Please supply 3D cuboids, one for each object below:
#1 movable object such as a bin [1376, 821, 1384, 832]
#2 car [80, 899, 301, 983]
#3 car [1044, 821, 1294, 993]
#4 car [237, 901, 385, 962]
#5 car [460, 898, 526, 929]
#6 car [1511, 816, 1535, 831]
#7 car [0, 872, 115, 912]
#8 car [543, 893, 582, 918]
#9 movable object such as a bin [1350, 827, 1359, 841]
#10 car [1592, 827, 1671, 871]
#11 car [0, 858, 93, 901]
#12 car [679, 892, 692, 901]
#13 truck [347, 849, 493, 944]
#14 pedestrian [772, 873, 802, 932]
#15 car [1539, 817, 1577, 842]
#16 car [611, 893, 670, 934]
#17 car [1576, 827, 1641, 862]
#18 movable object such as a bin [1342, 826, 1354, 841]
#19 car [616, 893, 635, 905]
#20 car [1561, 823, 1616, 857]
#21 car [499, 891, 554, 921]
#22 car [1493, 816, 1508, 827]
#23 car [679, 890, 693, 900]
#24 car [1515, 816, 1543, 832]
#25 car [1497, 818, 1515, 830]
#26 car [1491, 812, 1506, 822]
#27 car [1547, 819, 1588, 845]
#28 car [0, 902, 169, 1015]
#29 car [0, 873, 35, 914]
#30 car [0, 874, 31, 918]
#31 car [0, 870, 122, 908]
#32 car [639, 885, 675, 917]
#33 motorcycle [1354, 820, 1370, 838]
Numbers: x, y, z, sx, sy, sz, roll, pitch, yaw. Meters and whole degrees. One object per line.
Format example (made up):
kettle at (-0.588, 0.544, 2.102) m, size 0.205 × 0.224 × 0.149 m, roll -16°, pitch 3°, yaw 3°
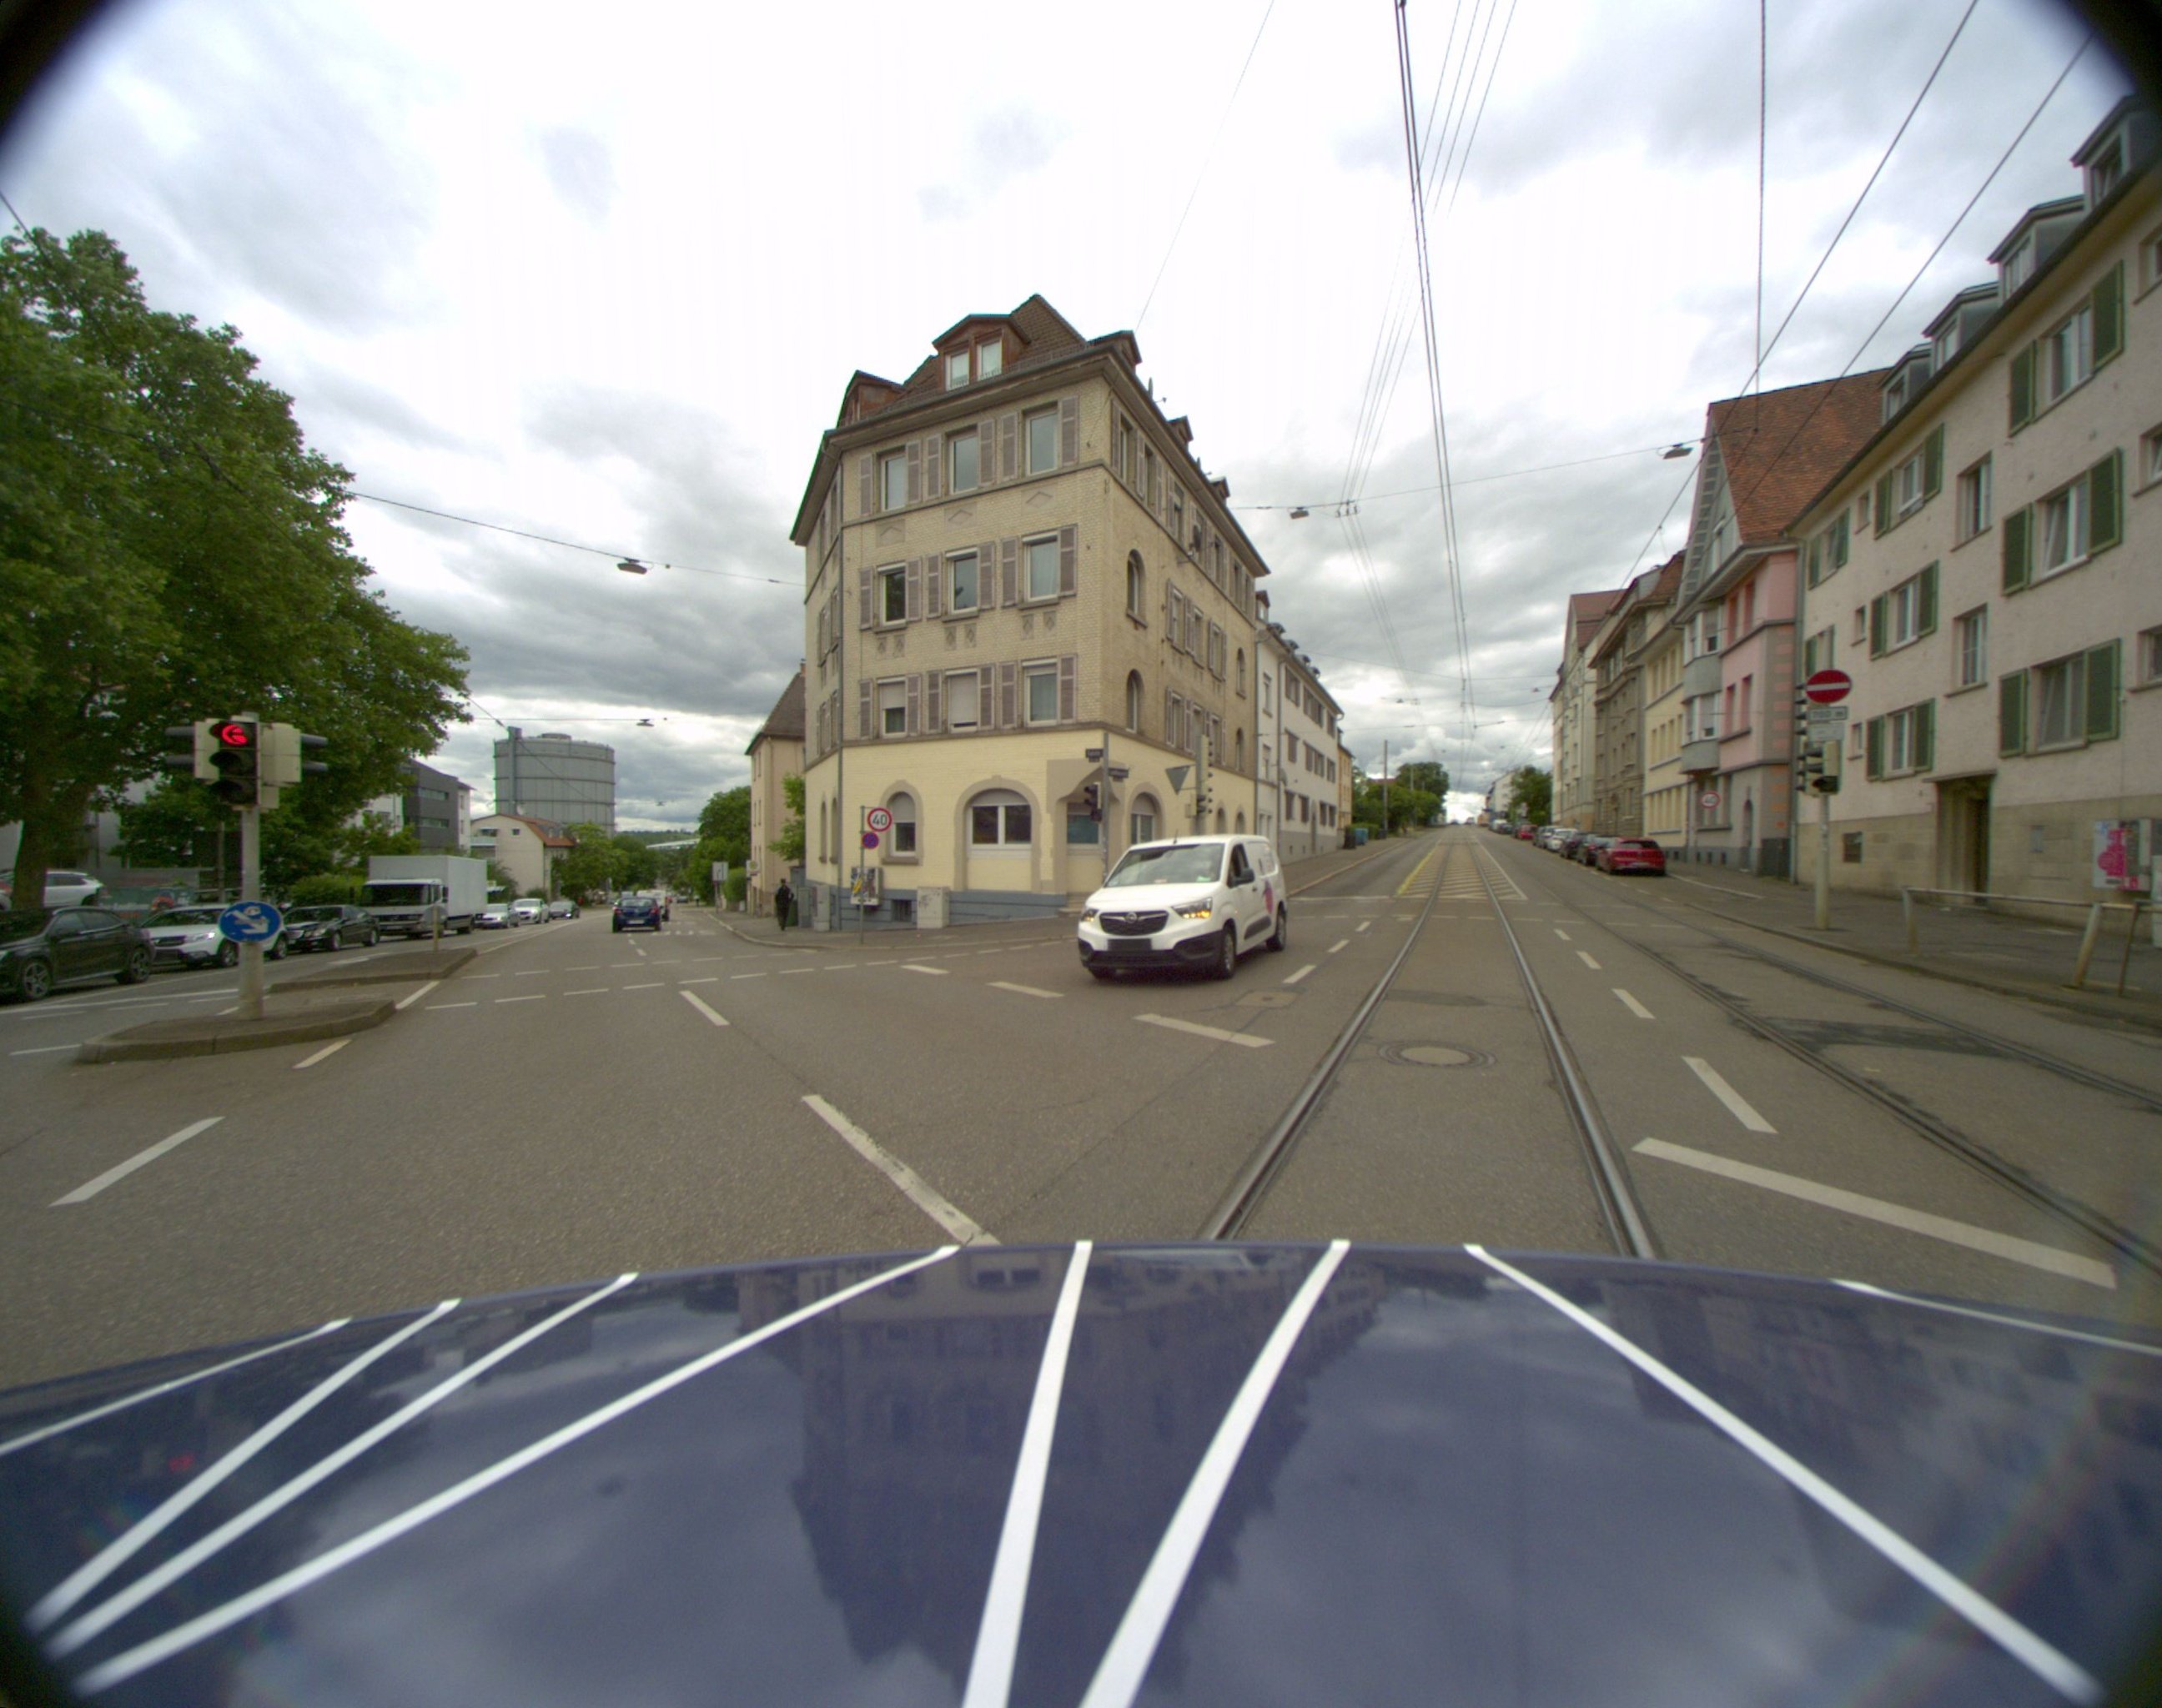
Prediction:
movable object such as a bin at (29.803, -2.757, 75.771) m, size 0.668 × 1.053 × 0.540 m, roll -1°, pitch 2°, yaw 27°
car at (-21.027, 1.956, 18.234) m, size 2.003 × 1.517 × 4.248 m, roll -2°, pitch 0°, yaw -29°
car at (1.503, 0.584, 10.576) m, size 1.885 × 1.827 × 4.685 m, roll -2°, pitch -1°, yaw 27°
car at (-23.738, 2.316, 23.647) m, size 2.003 × 1.457 × 4.399 m, roll -2°, pitch 0°, yaw -29°
car at (-31.718, 3.180, 41.094) m, size 1.922 × 1.291 × 4.400 m, roll -2°, pitch 0°, yaw -26°
car at (45.552, -3.181, 78.408) m, size 1.739 × 1.518 × 3.957 m, roll 2°, pitch 4°, yaw 25°
car at (-41.695, 1.478, 30.204) m, size 1.789 × 1.496 × 3.621 m, roll -1°, pitch -1°, yaw 10°
car at (-40.565, 3.997, 59.510) m, size 2.003 × 1.620 × 4.399 m, roll -2°, pitch 0°, yaw -29°
movable object such as a bin at (19.489, -1.432, 54.132) m, size 0.564 × 1.004 × 0.499 m, roll 3°, pitch 4°, yaw 18°
car at (21.354, -0.254, 29.642) m, size 1.786 × 1.431 × 4.267 m, roll 2°, pitch 4°, yaw 27°
car at (-46.541, 1.106, 33.076) m, size 1.858 × 1.812 × 4.008 m, roll -1°, pitch -1°, yaw 27°
car at (-76.414, 8.221, 146.734) m, size 2.002 × 1.590 × 3.992 m, roll -3°, pitch 0°, yaw -26°
truck at (-28.236, 1.697, 32.920) m, size 2.777 × 3.481 × 8.154 m, roll -3°, pitch 0°, yaw -27°
pedestrian at (-10.118, 1.657, 26.141) m, size 0.748 × 1.925 × 0.901 m, roll -4°, pitch 1°, yaw -28°
car at (32.735, -1.702, 52.269) m, size 1.740 × 1.559 × 4.148 m, roll 0°, pitch 3°, yaw 25°
car at (-18.311, 2.423, 31.690) m, size 1.762 × 1.438 × 3.744 m, roll -2°, pitch 0°, yaw -25°
car at (23.898, -0.485, 34.569) m, size 1.786 × 1.403 × 4.247 m, roll 2°, pitch 4°, yaw 27°
movable object such as a bin at (18.733, -1.425, 53.255) m, size 0.636 × 1.004 × 0.603 m, roll 4°, pitch 4°, yaw 27°
car at (-67.345, 6.675, 112.471) m, size 2.002 × 1.590 × 3.992 m, roll -3°, pitch 0°, yaw -26°
car at (26.156, -0.770, 39.299) m, size 1.786 × 1.503 × 4.532 m, roll 2°, pitch 4°, yaw 27°
car at (-35.200, 3.248, 48.372) m, size 2.002 × 1.620 × 4.400 m, roll -2°, pitch 0°, yaw -26°
car at (62.226, -4.776, 112.760) m, size 1.739 × 1.518 × 3.957 m, roll 2°, pitch 4°, yaw 25°
car at (-71.182, 7.458, 136.953) m, size 2.002 × 1.590 × 3.992 m, roll -3°, pitch 0°, yaw -26°
car at (43.516, -2.910, 73.899) m, size 1.740 × 1.451 × 3.956 m, roll 2°, pitch 4°, yaw 22°
car at (56.693, -4.074, 101.394) m, size 1.739 × 1.518 × 3.957 m, roll 2°, pitch 4°, yaw 25°
car at (67.369, -5.959, 122.643) m, size 1.739 × 1.518 × 3.957 m, roll 2°, pitch 4°, yaw 25°
car at (30.377, -1.401, 47.541) m, size 1.740 × 1.503 × 3.806 m, roll 1°, pitch 3°, yaw 27°
car at (-17.717, 1.678, 12.492) m, size 2.003 × 1.517 × 4.248 m, roll -2°, pitch 0°, yaw -29°
car at (-40.509, 1.443, 26.797) m, size 1.858 × 1.496 × 4.008 m, roll -1°, pitch -1°, yaw 27°
car at (-38.474, 1.456, 25.131) m, size 1.859 × 1.496 × 4.006 m, roll -1°, pitch -1°, yaw 18°
car at (-44.204, 1.447, 32.185) m, size 1.860 × 1.496 × 4.004 m, roll -1°, pitch -1°, yaw 12°
car at (-26.663, 2.929, 47.825) m, size 1.874 × 1.872 × 4.276 m, roll 2°, pitch -3°, yaw -28°
motorcycle at (22.328, -1.985, 60.395) m, size 0.730 × 1.383 × 1.939 m, roll 5°, pitch 5°, yaw 33°
